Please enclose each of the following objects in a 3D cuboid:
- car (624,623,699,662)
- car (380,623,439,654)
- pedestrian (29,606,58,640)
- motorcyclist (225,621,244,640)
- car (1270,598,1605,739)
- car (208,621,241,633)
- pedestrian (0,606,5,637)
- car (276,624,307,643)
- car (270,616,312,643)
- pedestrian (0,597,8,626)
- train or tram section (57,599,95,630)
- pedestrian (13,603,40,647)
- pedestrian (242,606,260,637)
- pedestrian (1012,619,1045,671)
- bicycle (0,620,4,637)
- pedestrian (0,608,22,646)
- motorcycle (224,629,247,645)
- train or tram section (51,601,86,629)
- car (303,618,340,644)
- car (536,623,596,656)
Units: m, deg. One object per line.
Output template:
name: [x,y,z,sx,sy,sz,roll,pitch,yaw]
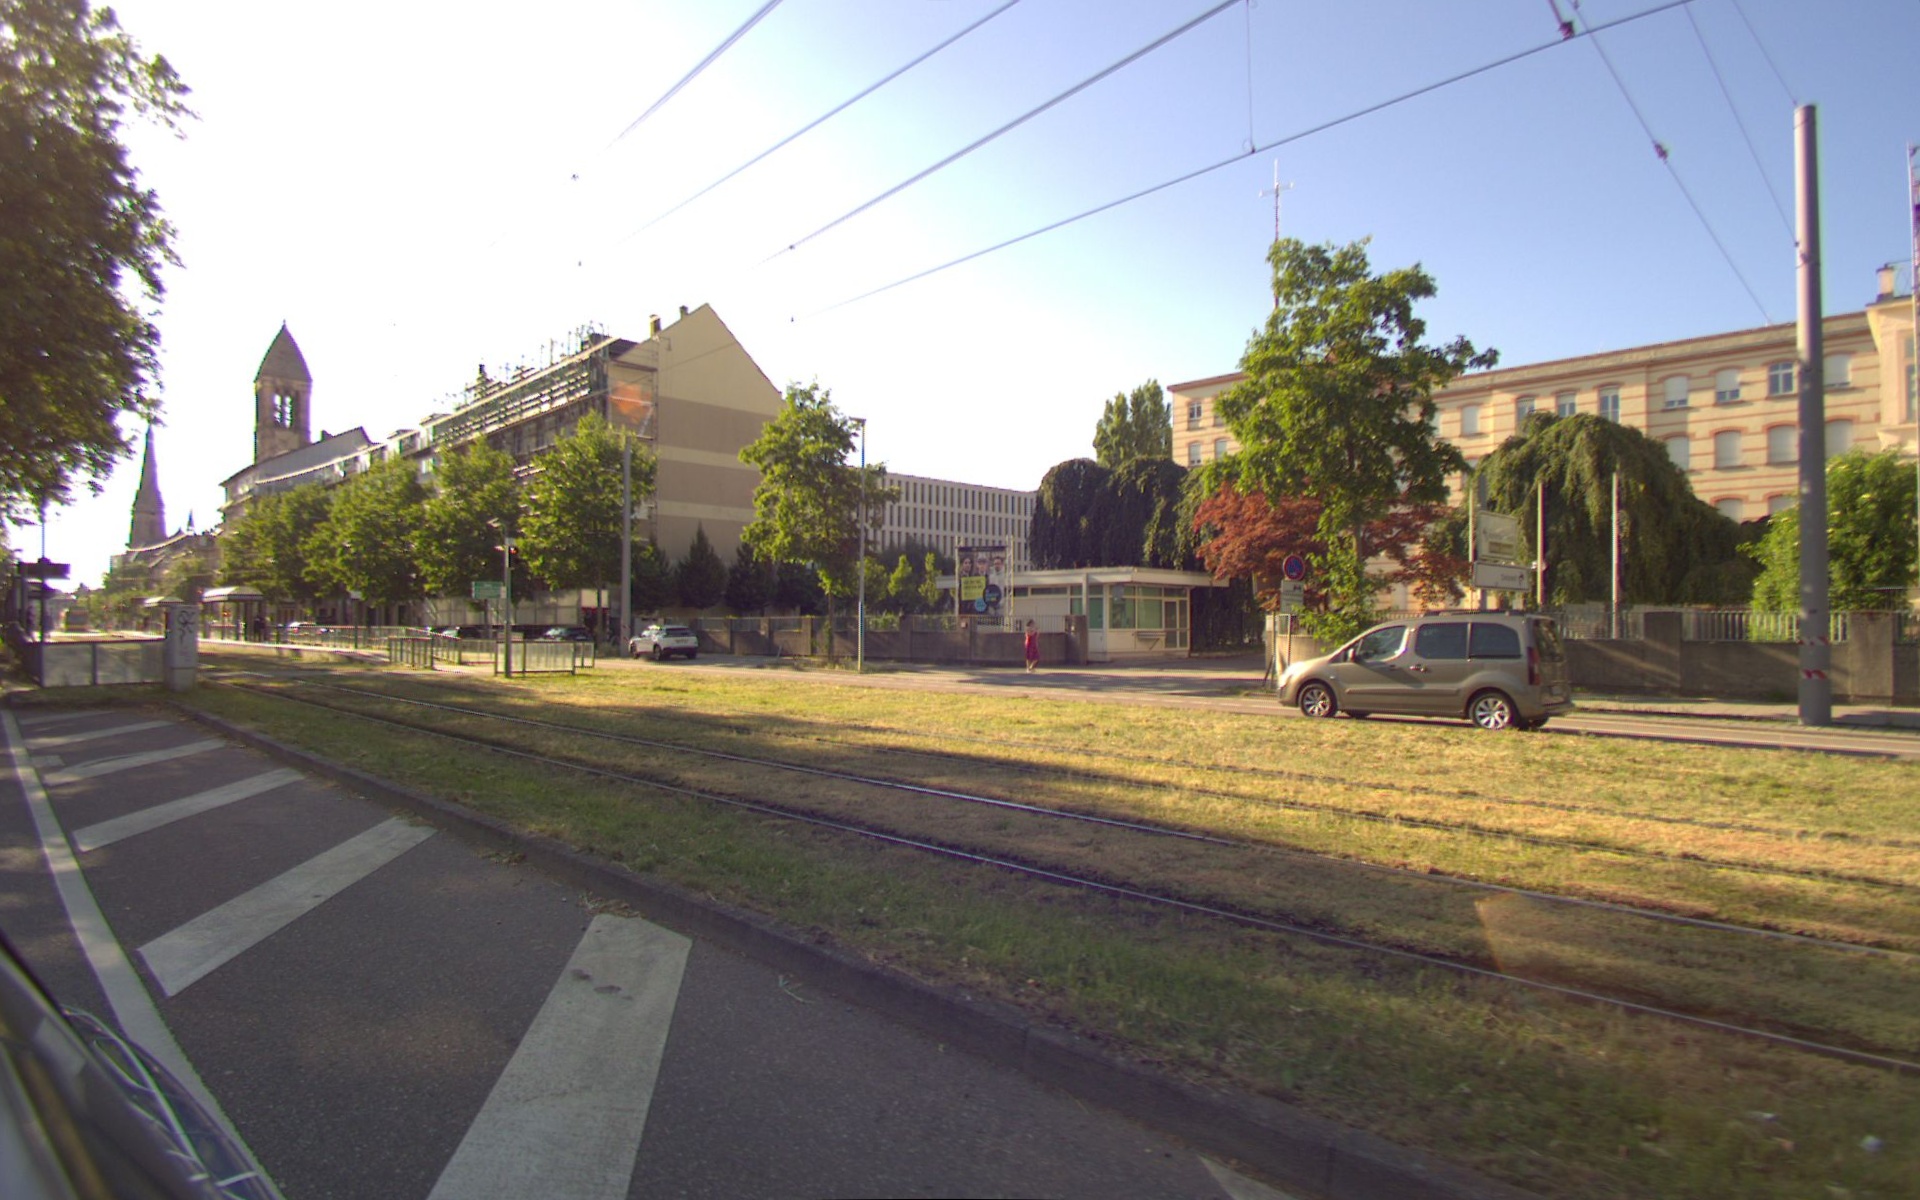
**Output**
car: [-13.379,1.856,45.187,1.700,1.598,4.071,-1,0,-40]
car: [-27.833,1.909,51.106,1.588,1.418,3.854,-1,0,-44]
pedestrian: [-47.984,1.186,52.970,0.625,1.735,0.907,-1,0,12]
motorcyclist: [-51.640,2.166,72.025,1.276,1.309,0.809,-1,0,41]
car: [7.484,0.994,16.214,1.916,1.933,4.476,2,-2,-44]
car: [-118.156,4.322,162.555,3.968,1.819,1.871,-1,0,-44]
pedestrian: [-54.573,1.233,57.263,0.695,1.772,0.756,-1,0,45]
car: [-64.149,3.235,97.103,1.785,1.690,3.787,-1,0,-45]
car: [-47.830,2.113,72.342,1.842,1.819,4.032,-1,0,-43]
pedestrian: [-67.333,0.822,71.046,0.591,2.011,0.826,-1,0,-39]
train or tram section: [-112.123,1.873,128.294,2.836,3.714,14.570,2,-2,-44]
pedestrian: [-37.135,0.974,40.241,0.748,1.703,0.679,-1,0,-45]
pedestrian: [-39.427,1.181,56.309,0.654,1.703,0.672,-1,0,43]
pedestrian: [2.241,1.466,33.060,0.812,1.660,0.717,-1,-3,39]
bicycle: [-66.207,1.989,69.711,0.507,1.142,2.105,-1,0,-44]
pedestrian: [-42.514,1.201,45.322,0.671,1.703,0.895,-1,0,-44]
motorcycle: [-51.461,2.603,71.879,2.401,1.081,0.809,-1,0,41]
train or tram section: [-122.271,2.059,138.746,2.836,3.703,14.570,2,-2,-44]
car: [-56.053,2.682,88.840,1.918,2.183,3.787,-1,0,-45]
car: [-20.769,2.058,53.296,1.700,1.598,4.071,-1,0,-40]
